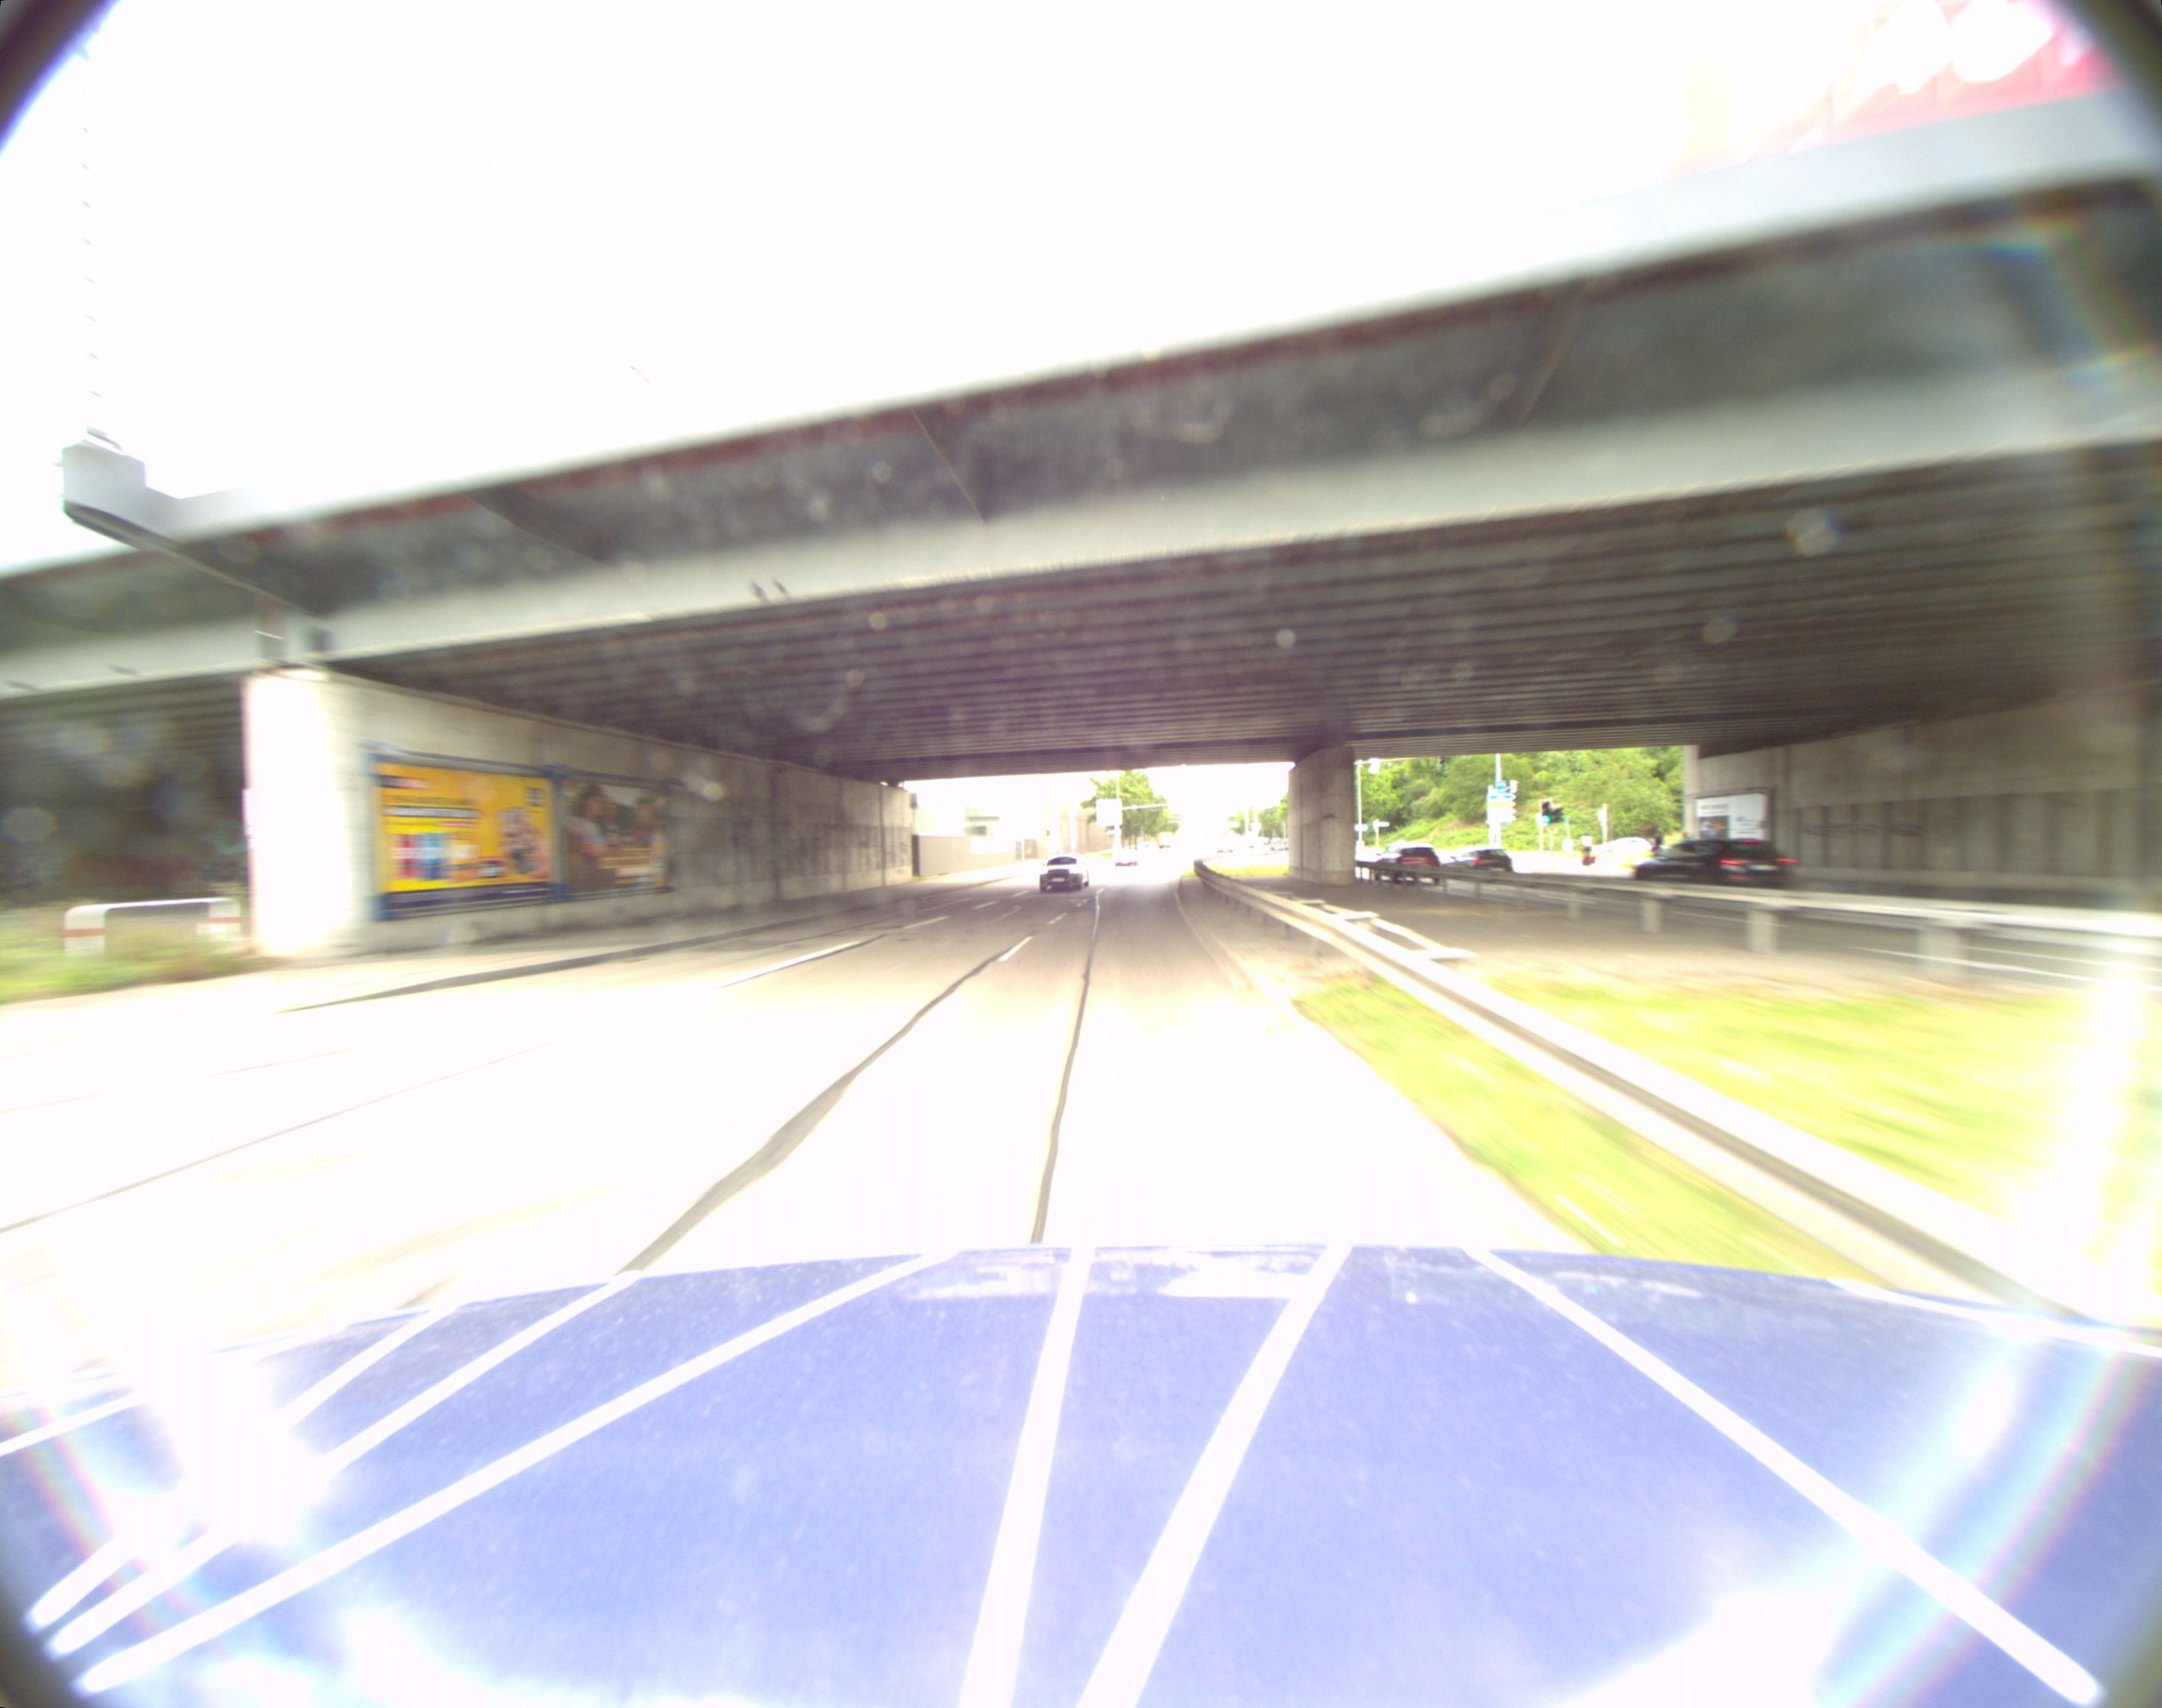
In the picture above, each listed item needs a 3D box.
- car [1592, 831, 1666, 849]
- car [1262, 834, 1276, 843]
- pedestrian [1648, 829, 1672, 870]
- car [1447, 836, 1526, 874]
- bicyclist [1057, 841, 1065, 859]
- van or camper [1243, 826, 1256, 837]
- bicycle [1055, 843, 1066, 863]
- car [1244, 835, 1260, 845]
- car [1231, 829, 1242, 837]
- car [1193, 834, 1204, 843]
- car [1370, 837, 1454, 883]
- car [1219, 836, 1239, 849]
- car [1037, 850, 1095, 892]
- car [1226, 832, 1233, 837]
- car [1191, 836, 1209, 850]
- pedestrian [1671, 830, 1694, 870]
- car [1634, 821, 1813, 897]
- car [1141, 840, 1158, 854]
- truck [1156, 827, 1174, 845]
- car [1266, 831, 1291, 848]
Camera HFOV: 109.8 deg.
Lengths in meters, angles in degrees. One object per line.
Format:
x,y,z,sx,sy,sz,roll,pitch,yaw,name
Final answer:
43.464,-1.123,60.380,4.314,1.371,2.002,-1,2,15,car
32.419,-2.626,130.993,1.929,1.521,4.001,0,2,8,car
24.384,-0.189,32.011,0.591,1.671,0.556,-1,2,6,pedestrian
16.914,-0.012,31.894,1.950,1.366,4.003,-2,2,14,car
-1.920,-0.405,73.082,0.716,1.759,0.988,-1,2,5,bicyclist
39.073,-5.185,176.545,2.356,2.525,7.066,-2,1,8,van or camper
-1.923,-0.115,73.007,0.721,1.764,2.534,-1,2,5,bicycle
26.123,-2.168,116.245,1.977,1.381,4.782,0,2,9,car
40.612,-5.445,198.498,2.195,1.953,5.195,-1,1,7,car
20.650,-2.791,133.469,1.781,1.488,3.600,-1,1,9,car
13.174,0.179,30.531,1.997,1.665,4.325,-1,1,8,car
17.220,-1.407,88.737,1.997,1.407,4.834,-2,1,9,car
-0.584,0.689,33.199,1.822,1.565,3.956,-3,1,9,car
48.270,-6.335,246.863,1.997,1.423,5.026,-1,2,9,car
13.058,-1.214,83.419,1.919,1.407,4.297,-4,1,9,car
24.781,-0.170,31.309,0.555,1.616,0.586,-1,2,10,pedestrian
18.639,0.092,22.369,1.997,2.002,4.338,-1,1,7,car
8.011,-0.807,88.543,1.712,1.488,3.652,-1,1,9,car
15.351,-3.323,138.468,3.064,3.095,7.938,-1,1,9,truck
20.981,-1.565,80.965,1.997,1.749,4.718,-1,1,7,car
